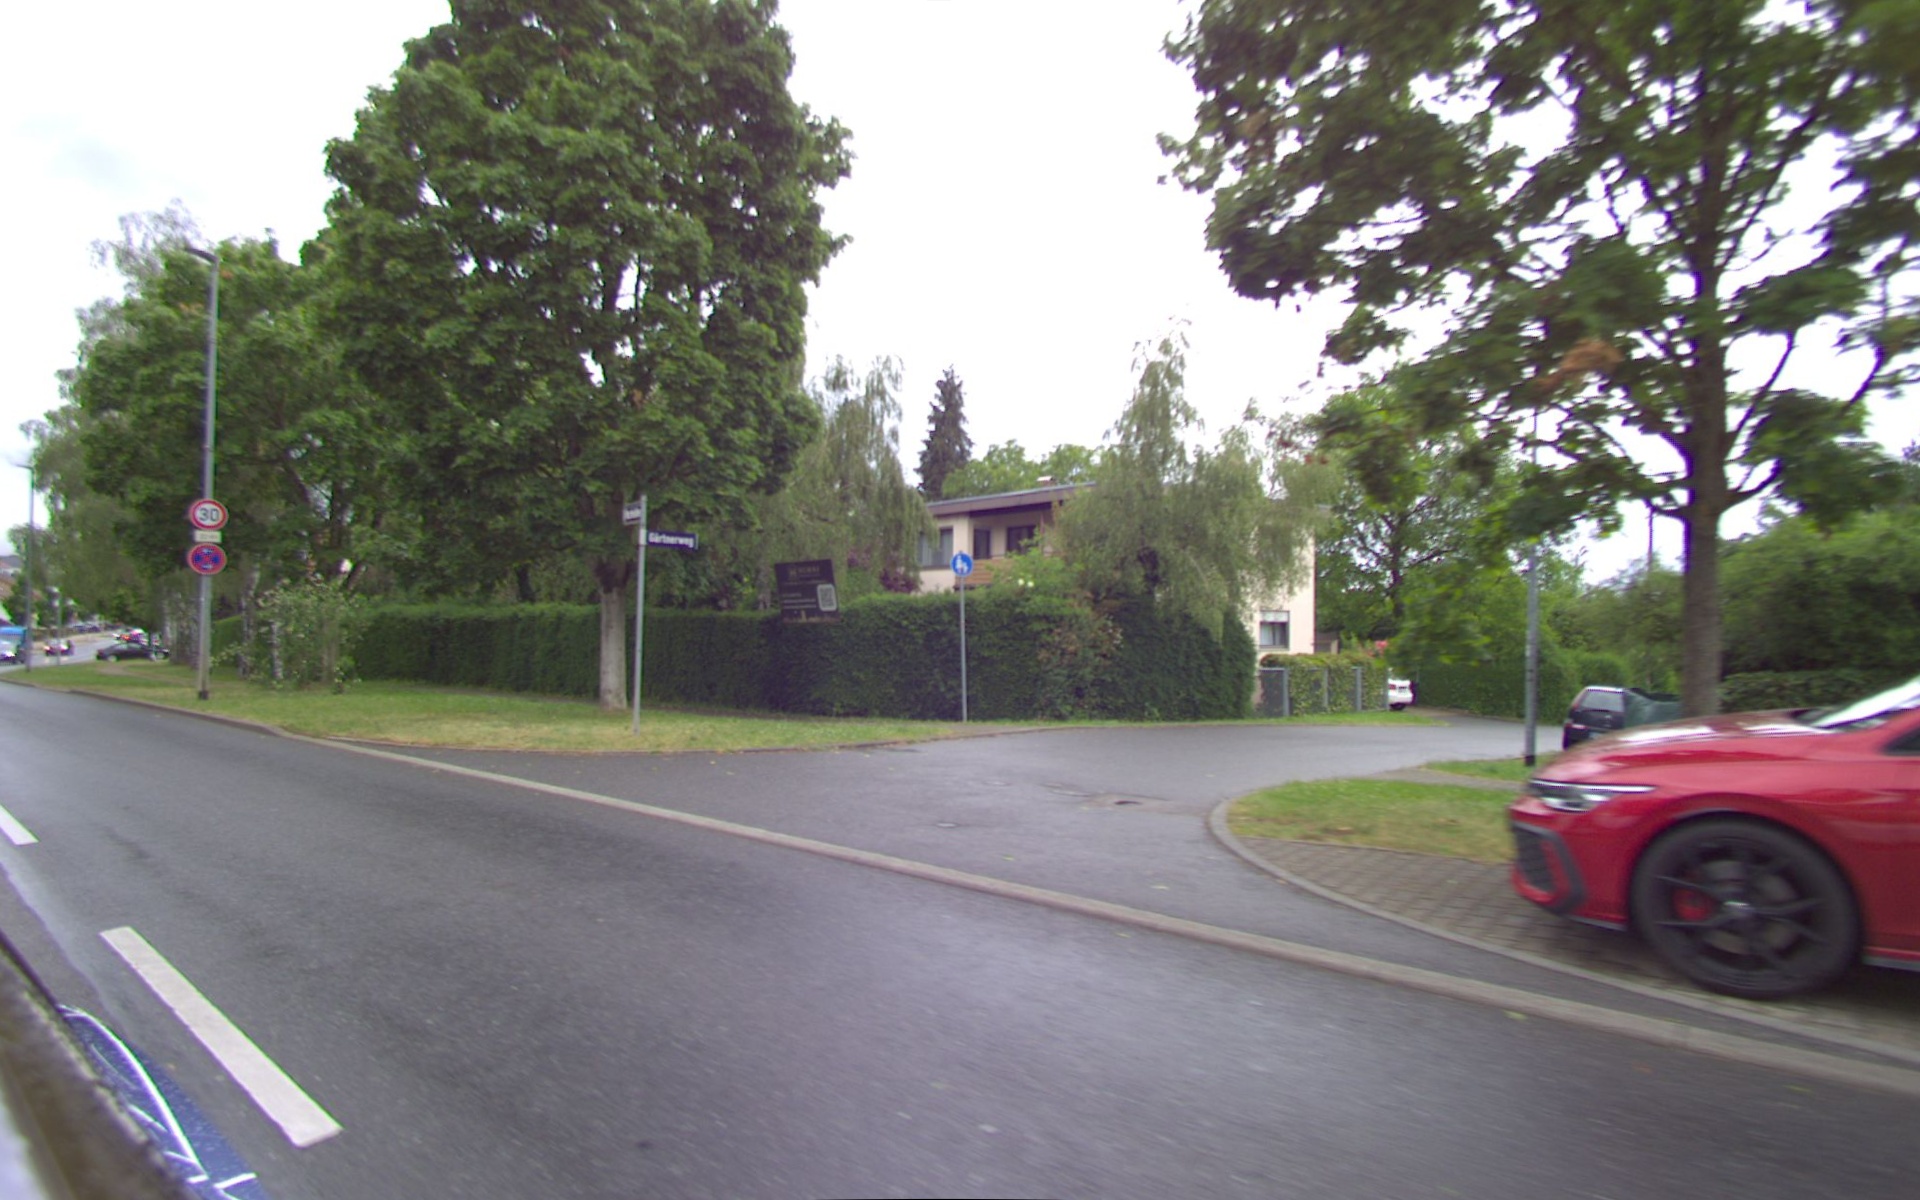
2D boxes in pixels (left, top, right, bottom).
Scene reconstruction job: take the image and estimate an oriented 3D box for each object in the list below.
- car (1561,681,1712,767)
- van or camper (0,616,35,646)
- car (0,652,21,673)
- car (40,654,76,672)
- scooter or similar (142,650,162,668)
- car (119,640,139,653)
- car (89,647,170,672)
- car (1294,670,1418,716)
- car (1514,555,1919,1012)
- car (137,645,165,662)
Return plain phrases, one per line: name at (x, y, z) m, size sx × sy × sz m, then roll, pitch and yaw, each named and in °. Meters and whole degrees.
car at (13.927, 2.514, 20.772) m, size 3.497 × 1.374 × 1.817 m, roll 7°, pitch -1°, yaw -44°
van or camper at (-86.290, 2.834, 92.036) m, size 2.114 × 2.628 × 5.798 m, roll 3°, pitch -3°, yaw -33°
car at (-73.692, 4.780, 77.618) m, size 1.865 × 1.552 × 4.010 m, roll -1°, pitch -2°, yaw -35°
car at (-84.975, 5.916, 95.366) m, size 1.865 × 1.552 × 4.011 m, roll -1°, pitch -1°, yaw -32°
scooter or similar at (-52.669, 3.829, 66.007) m, size 0.418 × 1.167 × 1.494 m, roll -2°, pitch -2°, yaw -14°
car at (-97.193, 5.428, 118.364) m, size 1.733 × 1.452 × 4.163 m, roll -1°, pitch -2°, yaw -40°
car at (-60.500, 4.302, 73.816) m, size 4.368 × 1.428 × 1.760 m, roll -3°, pitch 0°, yaw -34°
car at (14.563, 3.384, 37.322) m, size 3.880 × 1.534 × 1.711 m, roll -2°, pitch -4°, yaw 44°
car at (4.420, 0.579, 3.357) m, size 4.246 × 1.477 × 1.824 m, roll -2°, pitch -2°, yaw 40°
car at (-85.483, 5.651, 106.922) m, size 1.746 × 1.619 × 4.012 m, roll 1°, pitch -2°, yaw -31°
